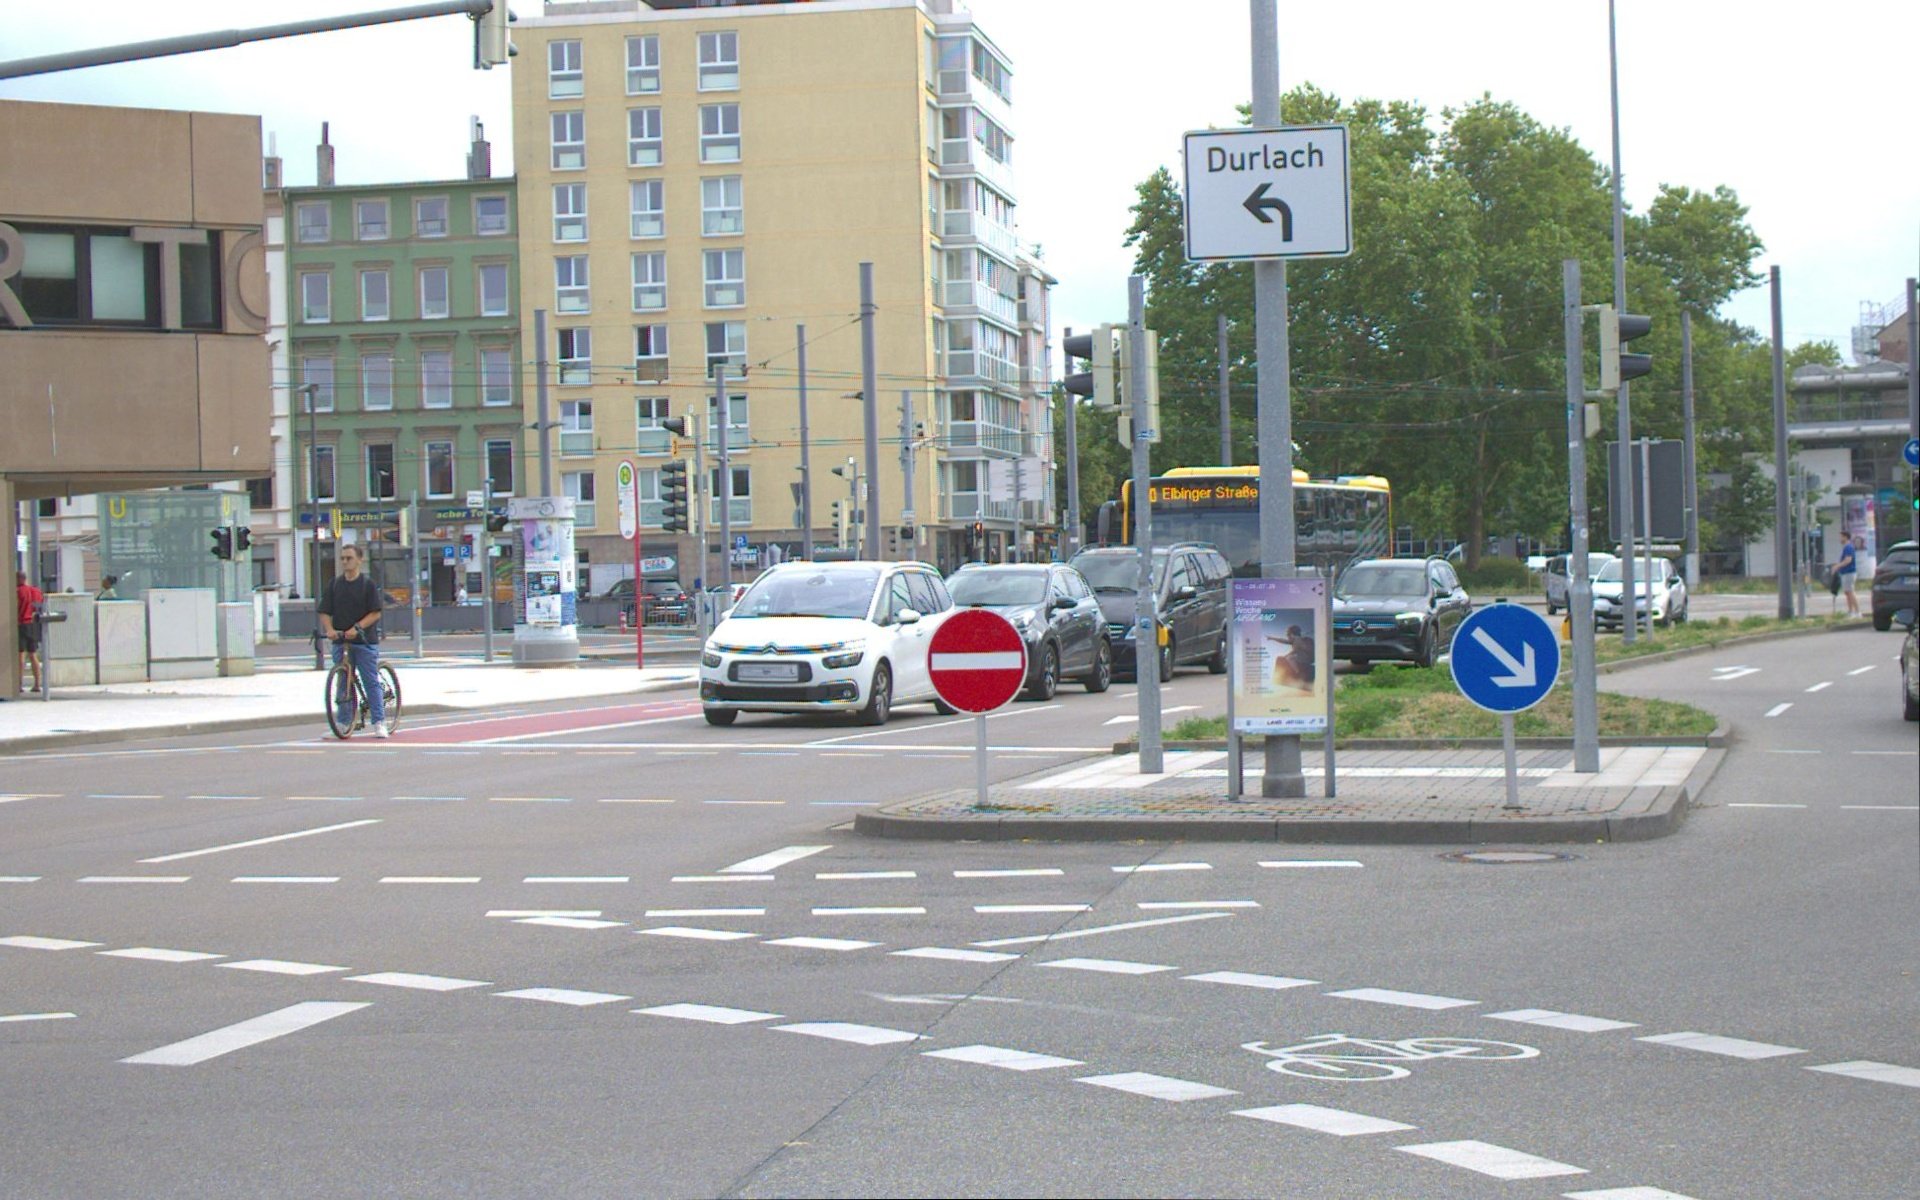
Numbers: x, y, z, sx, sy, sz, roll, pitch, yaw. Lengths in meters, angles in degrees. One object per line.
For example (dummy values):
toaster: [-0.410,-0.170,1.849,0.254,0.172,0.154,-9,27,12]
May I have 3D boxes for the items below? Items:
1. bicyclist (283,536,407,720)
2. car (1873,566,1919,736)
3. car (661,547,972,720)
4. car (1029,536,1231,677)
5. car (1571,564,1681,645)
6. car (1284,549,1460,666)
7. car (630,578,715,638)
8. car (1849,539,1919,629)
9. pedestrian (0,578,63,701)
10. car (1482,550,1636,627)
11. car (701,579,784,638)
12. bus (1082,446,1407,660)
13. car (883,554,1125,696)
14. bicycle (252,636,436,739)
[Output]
bicyclist: [-5.660,0.253,31.669,0.867,1.663,0.880,0,0,10]
car: [8.937,0.426,29.453,1.695,1.400,3.699,0,0,8]
car: [-1.384,0.315,35.165,1.995,1.645,4.287,1,0,15]
car: [2.455,0.081,48.459,1.995,1.892,4.287,0,0,15]
car: [14.168,0.086,72.944,1.995,1.645,4.509,1,0,15]
car: [6.193,0.101,51.231,1.995,1.645,4.509,1,0,15]
car: [-9.936,0.260,119.105,1.994,2.007,3.998,0,0,10]
car: [17.417,-0.290,63.480,1.836,1.609,3.543,1,0,16]
pedestrian: [-13.515,0.572,49.688,0.809,1.727,0.780,-3,0,-30]
car: [16.014,-0.307,92.081,1.993,2.007,4.000,0,0,-28]
car: [-7.494,0.281,118.950,1.994,2.007,3.998,0,0,10]
bus: [5.102,-0.736,58.524,3.150,3.244,12.404,0,0,16]
car: [0.603,0.281,42.333,1.995,1.645,4.287,1,0,15]
bicycle: [-5.656,0.785,31.740,0.862,0.873,2.518,0,0,10]
